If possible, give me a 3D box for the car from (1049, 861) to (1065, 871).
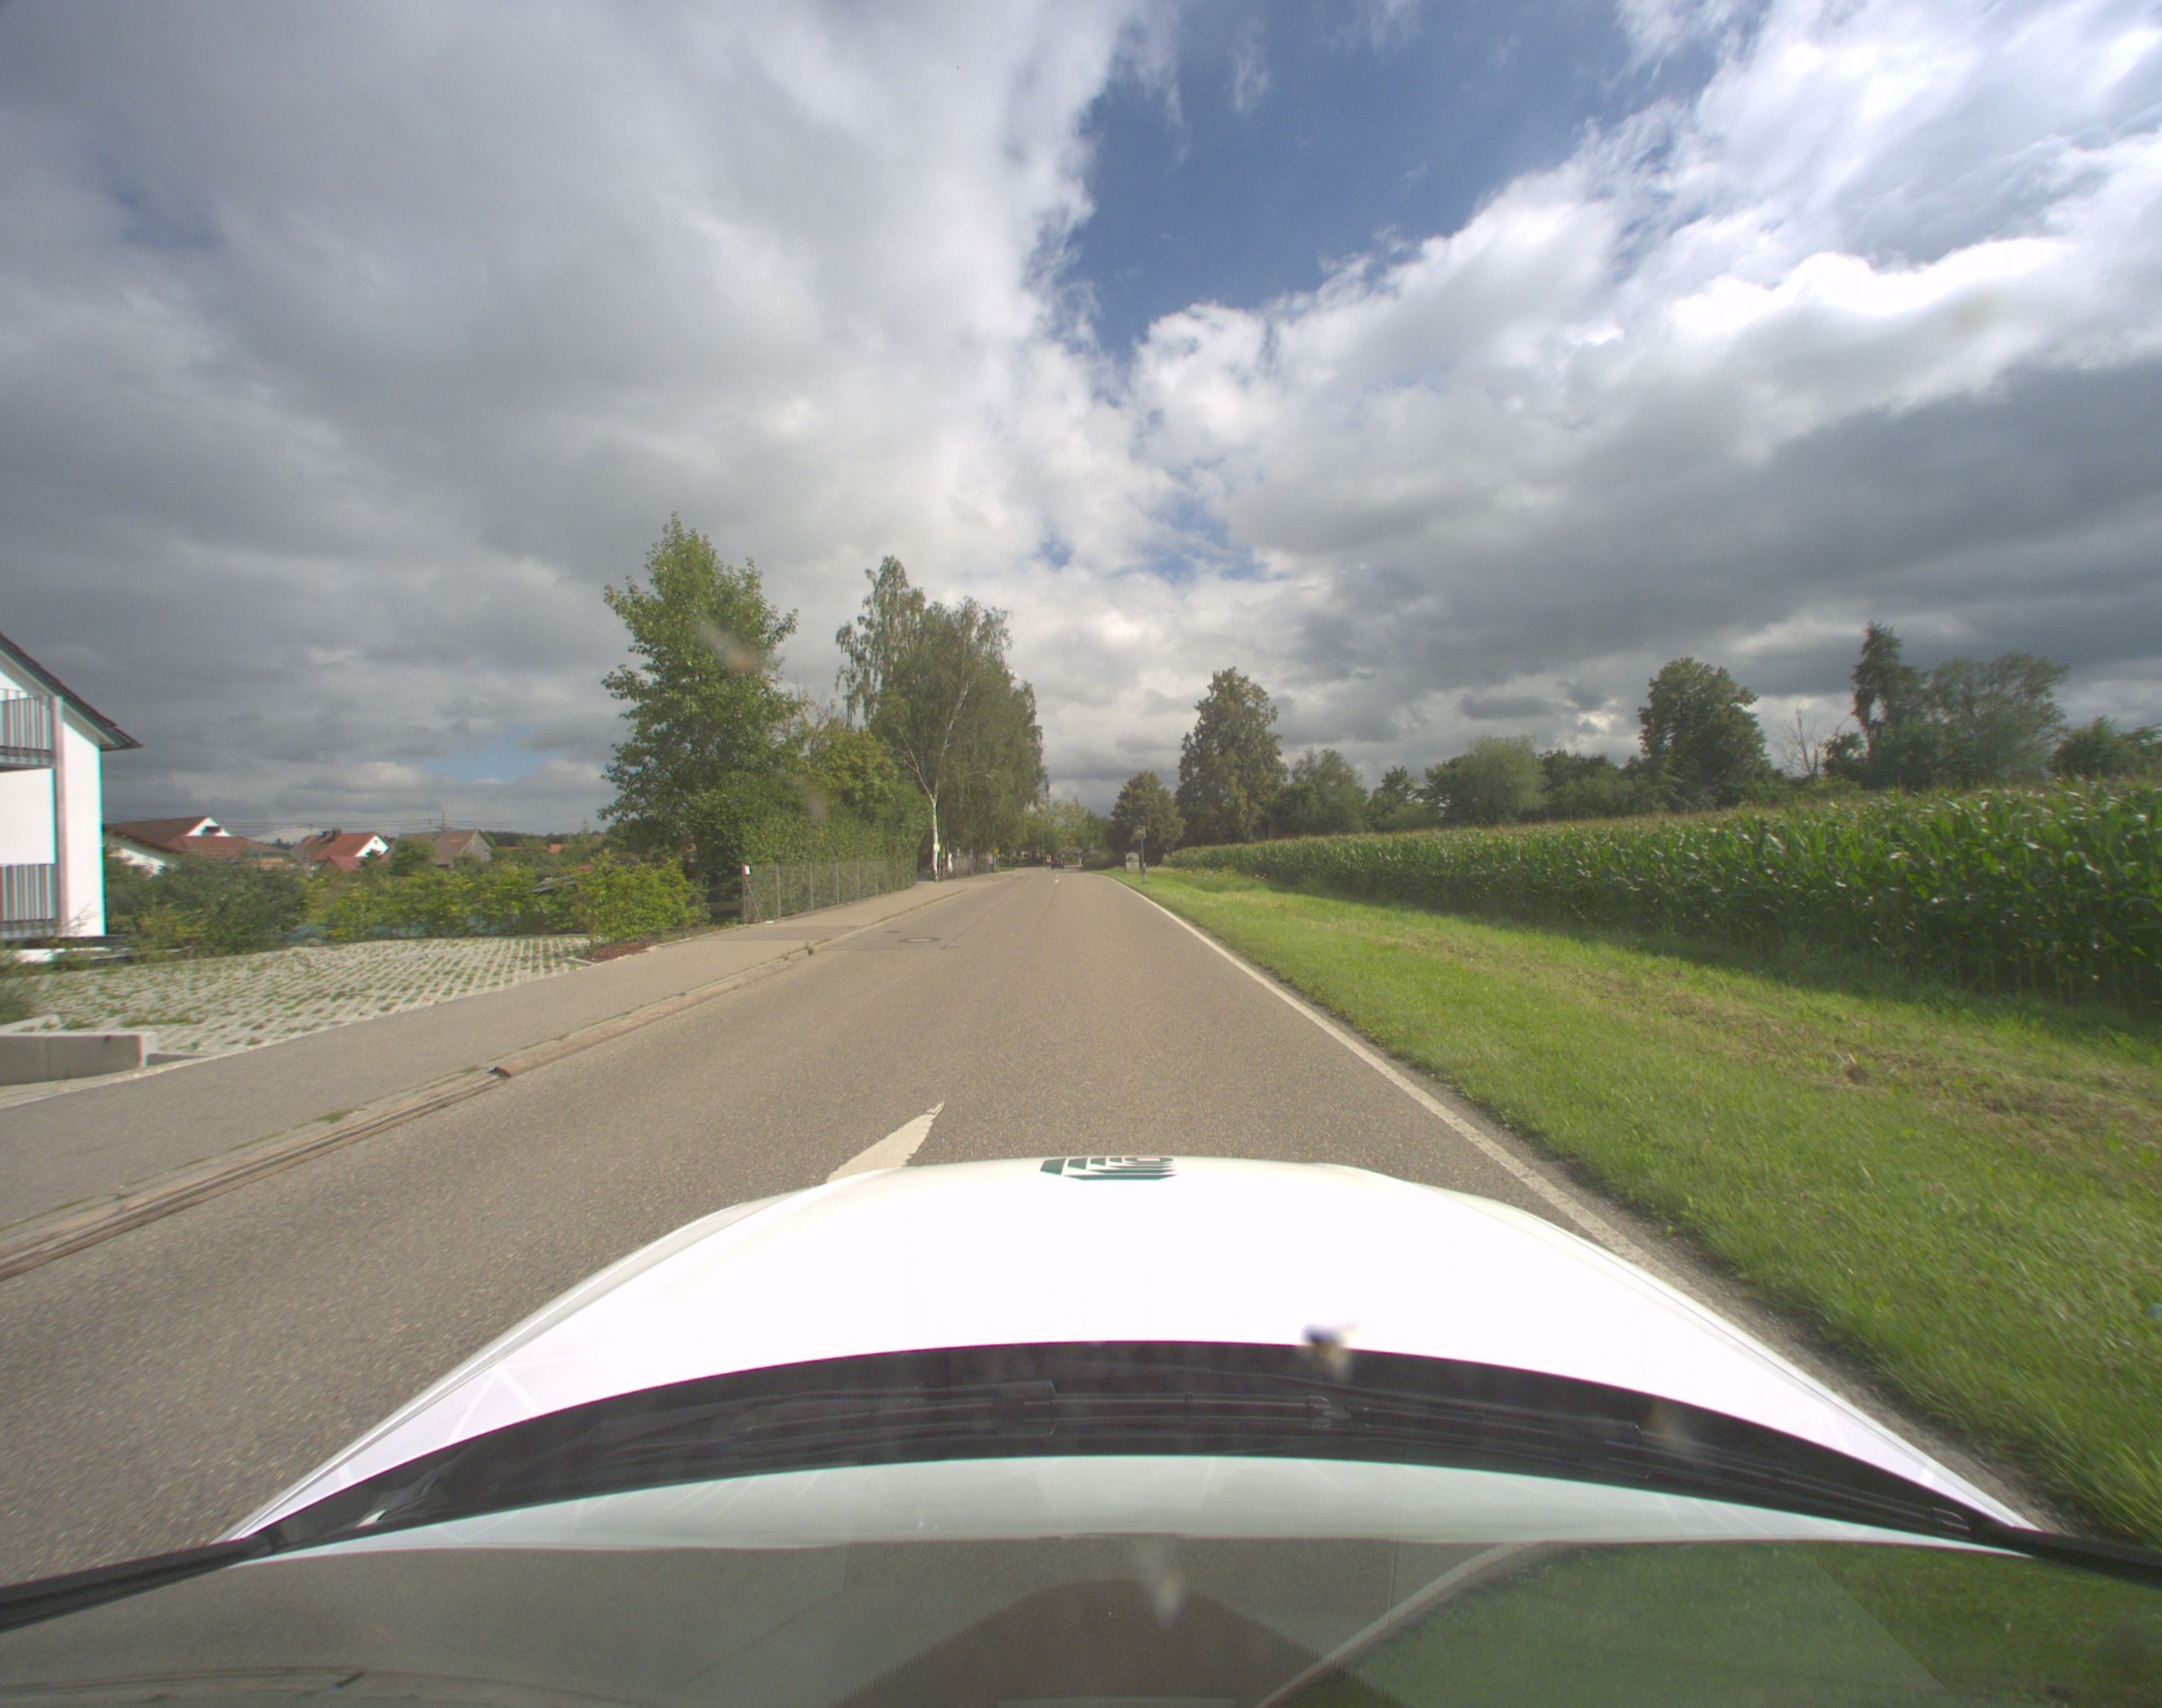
[{"bbox_3d":[-3.718,1.832,125.277,1.992,1.585,3.990,-2,0,-7],"label":"car"}]
